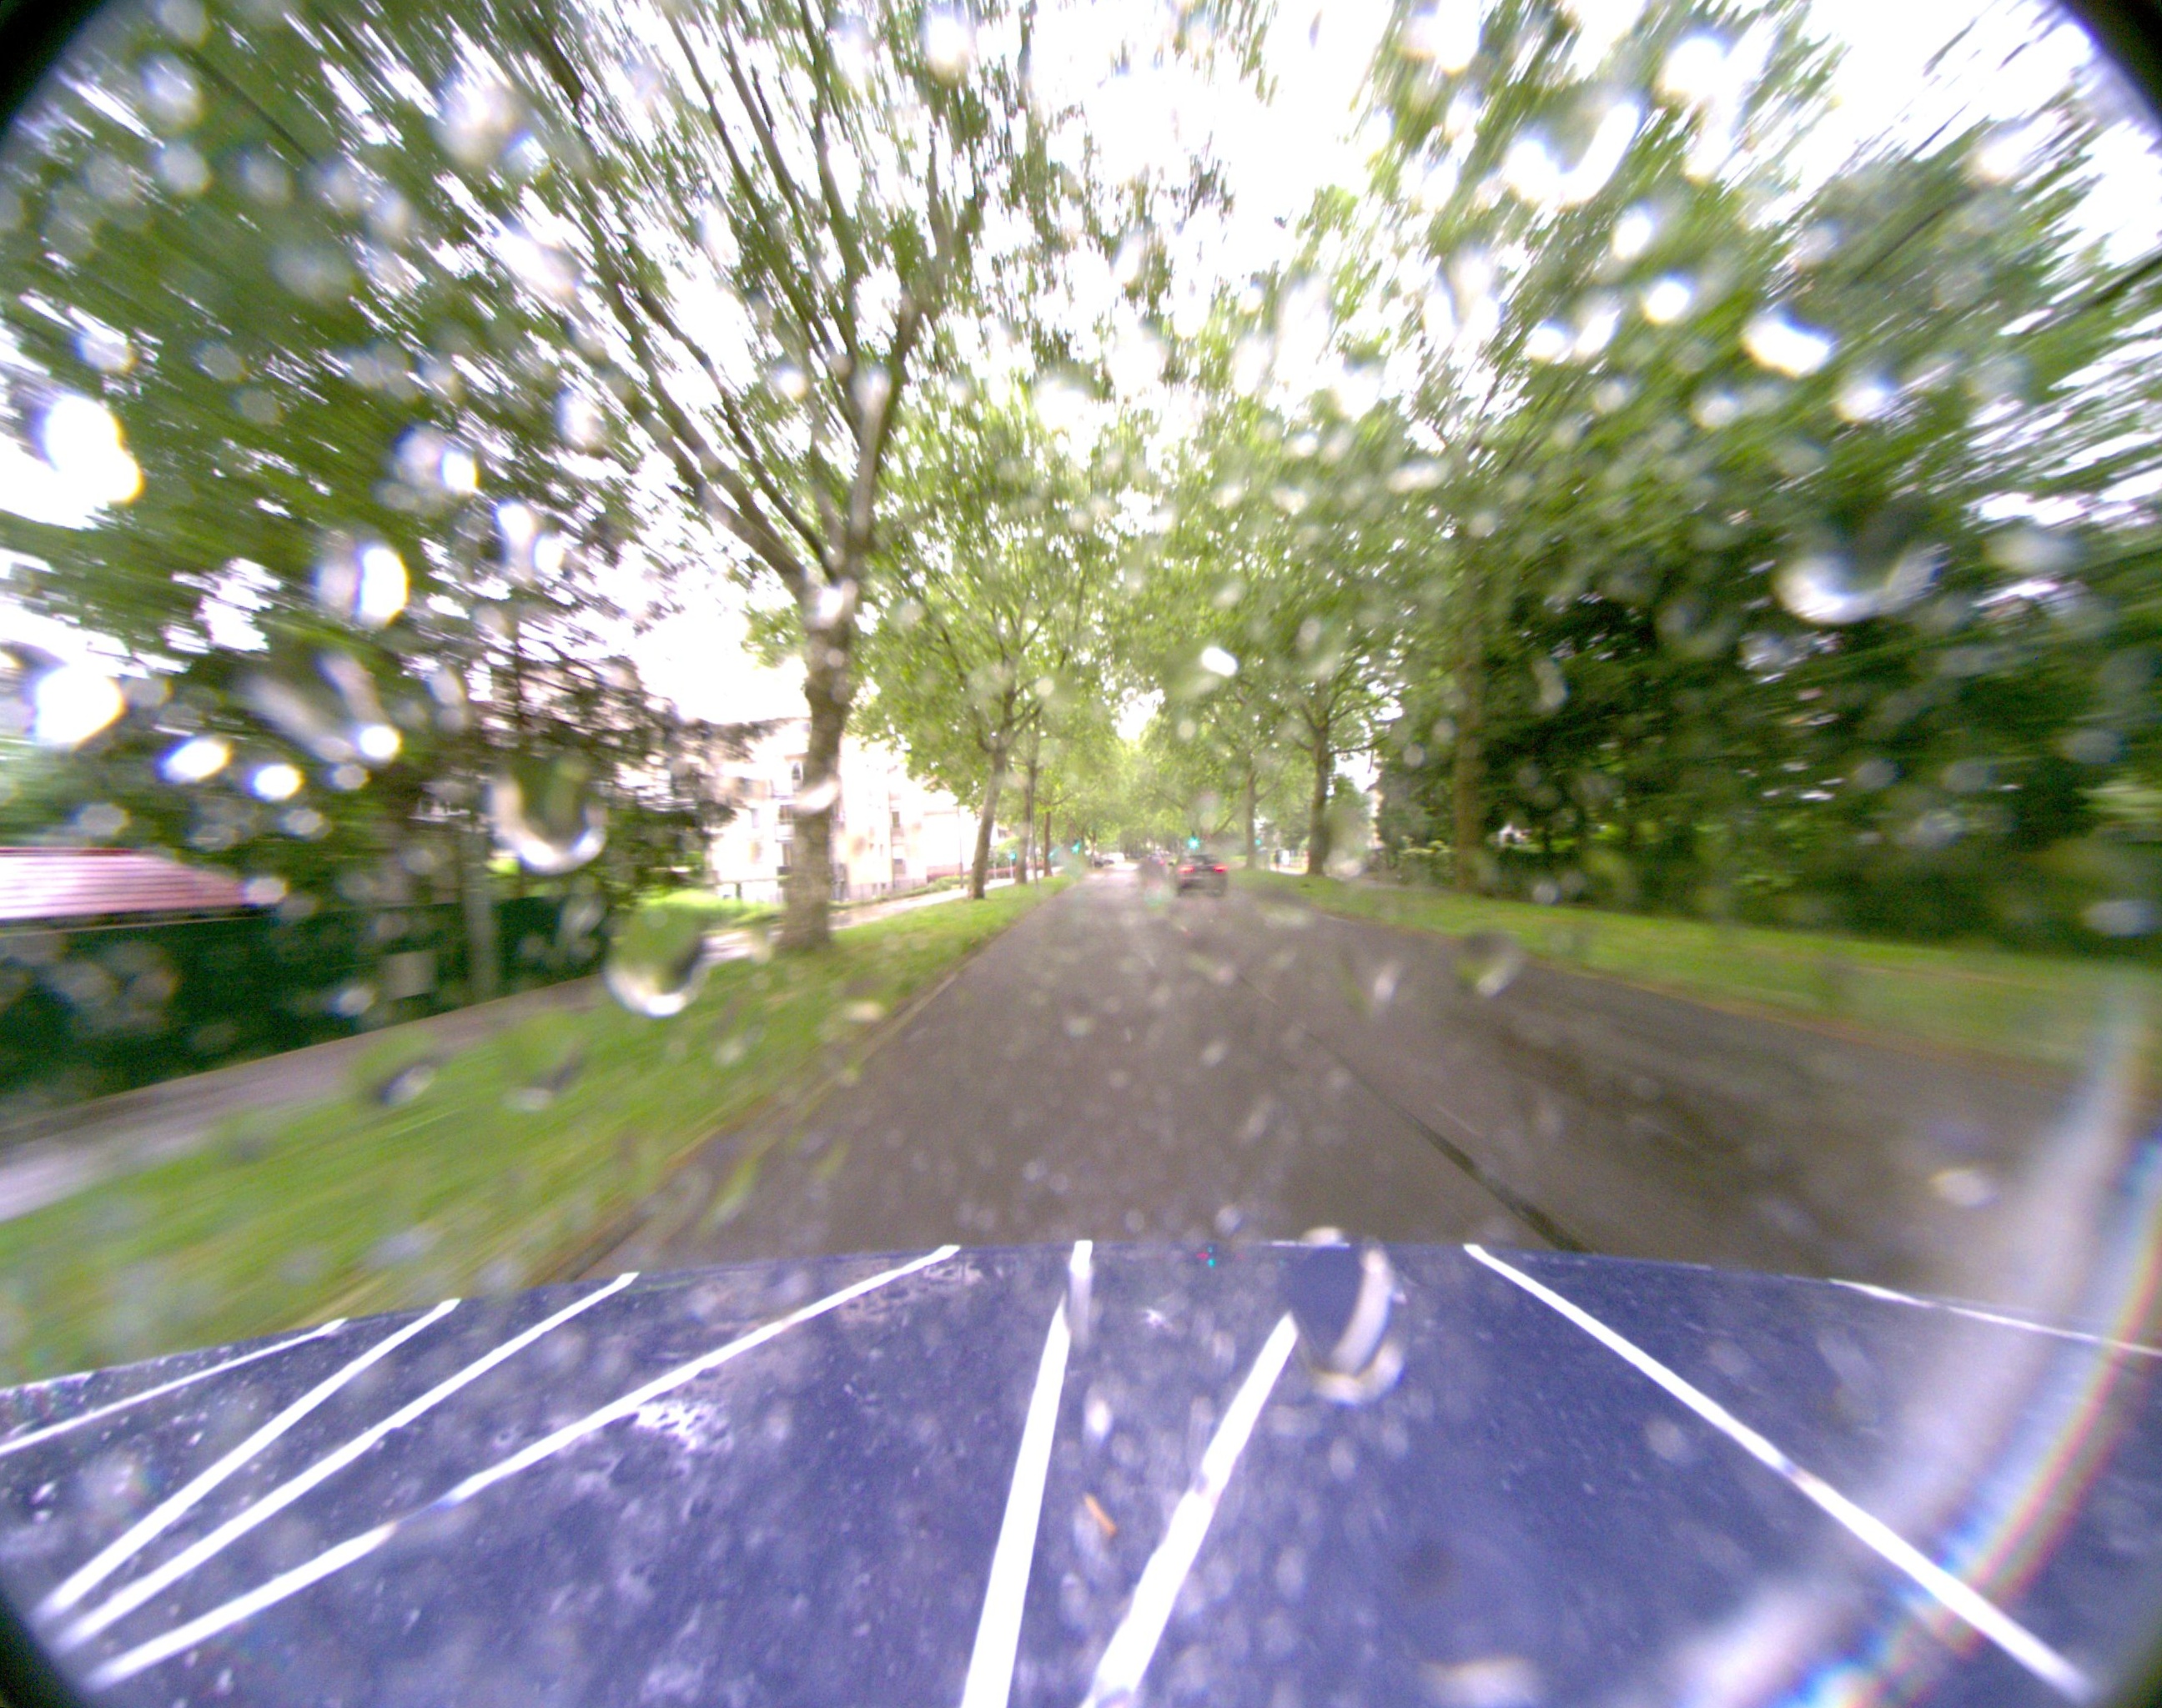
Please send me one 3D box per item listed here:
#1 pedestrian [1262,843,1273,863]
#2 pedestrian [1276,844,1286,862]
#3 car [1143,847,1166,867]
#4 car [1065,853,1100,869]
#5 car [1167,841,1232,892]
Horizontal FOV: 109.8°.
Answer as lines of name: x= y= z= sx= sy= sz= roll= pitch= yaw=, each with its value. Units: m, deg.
pedestrian: x=13.567 y=-0.084 z=55.286 sx=0.599 sy=1.445 sz=0.857 roll=-3 pitch=1 yaw=4
pedestrian: x=14.527 y=-0.058 z=55.200 sx=0.517 sy=1.254 sz=0.849 roll=-3 pitch=1 yaw=4
car: x=6.593 y=0.277 z=68.797 sx=1.822 sy=1.645 sz=4.774 roll=-3 pitch=0 yaw=4
car: x=0.252 y=0.867 z=96.043 sx=4.262 sy=1.845 sz=1.892 roll=-3 pitch=1 yaw=1
car: x=4.506 y=0.437 z=29.461 sx=1.813 sy=1.718 sz=4.455 roll=-3 pitch=0 yaw=1
